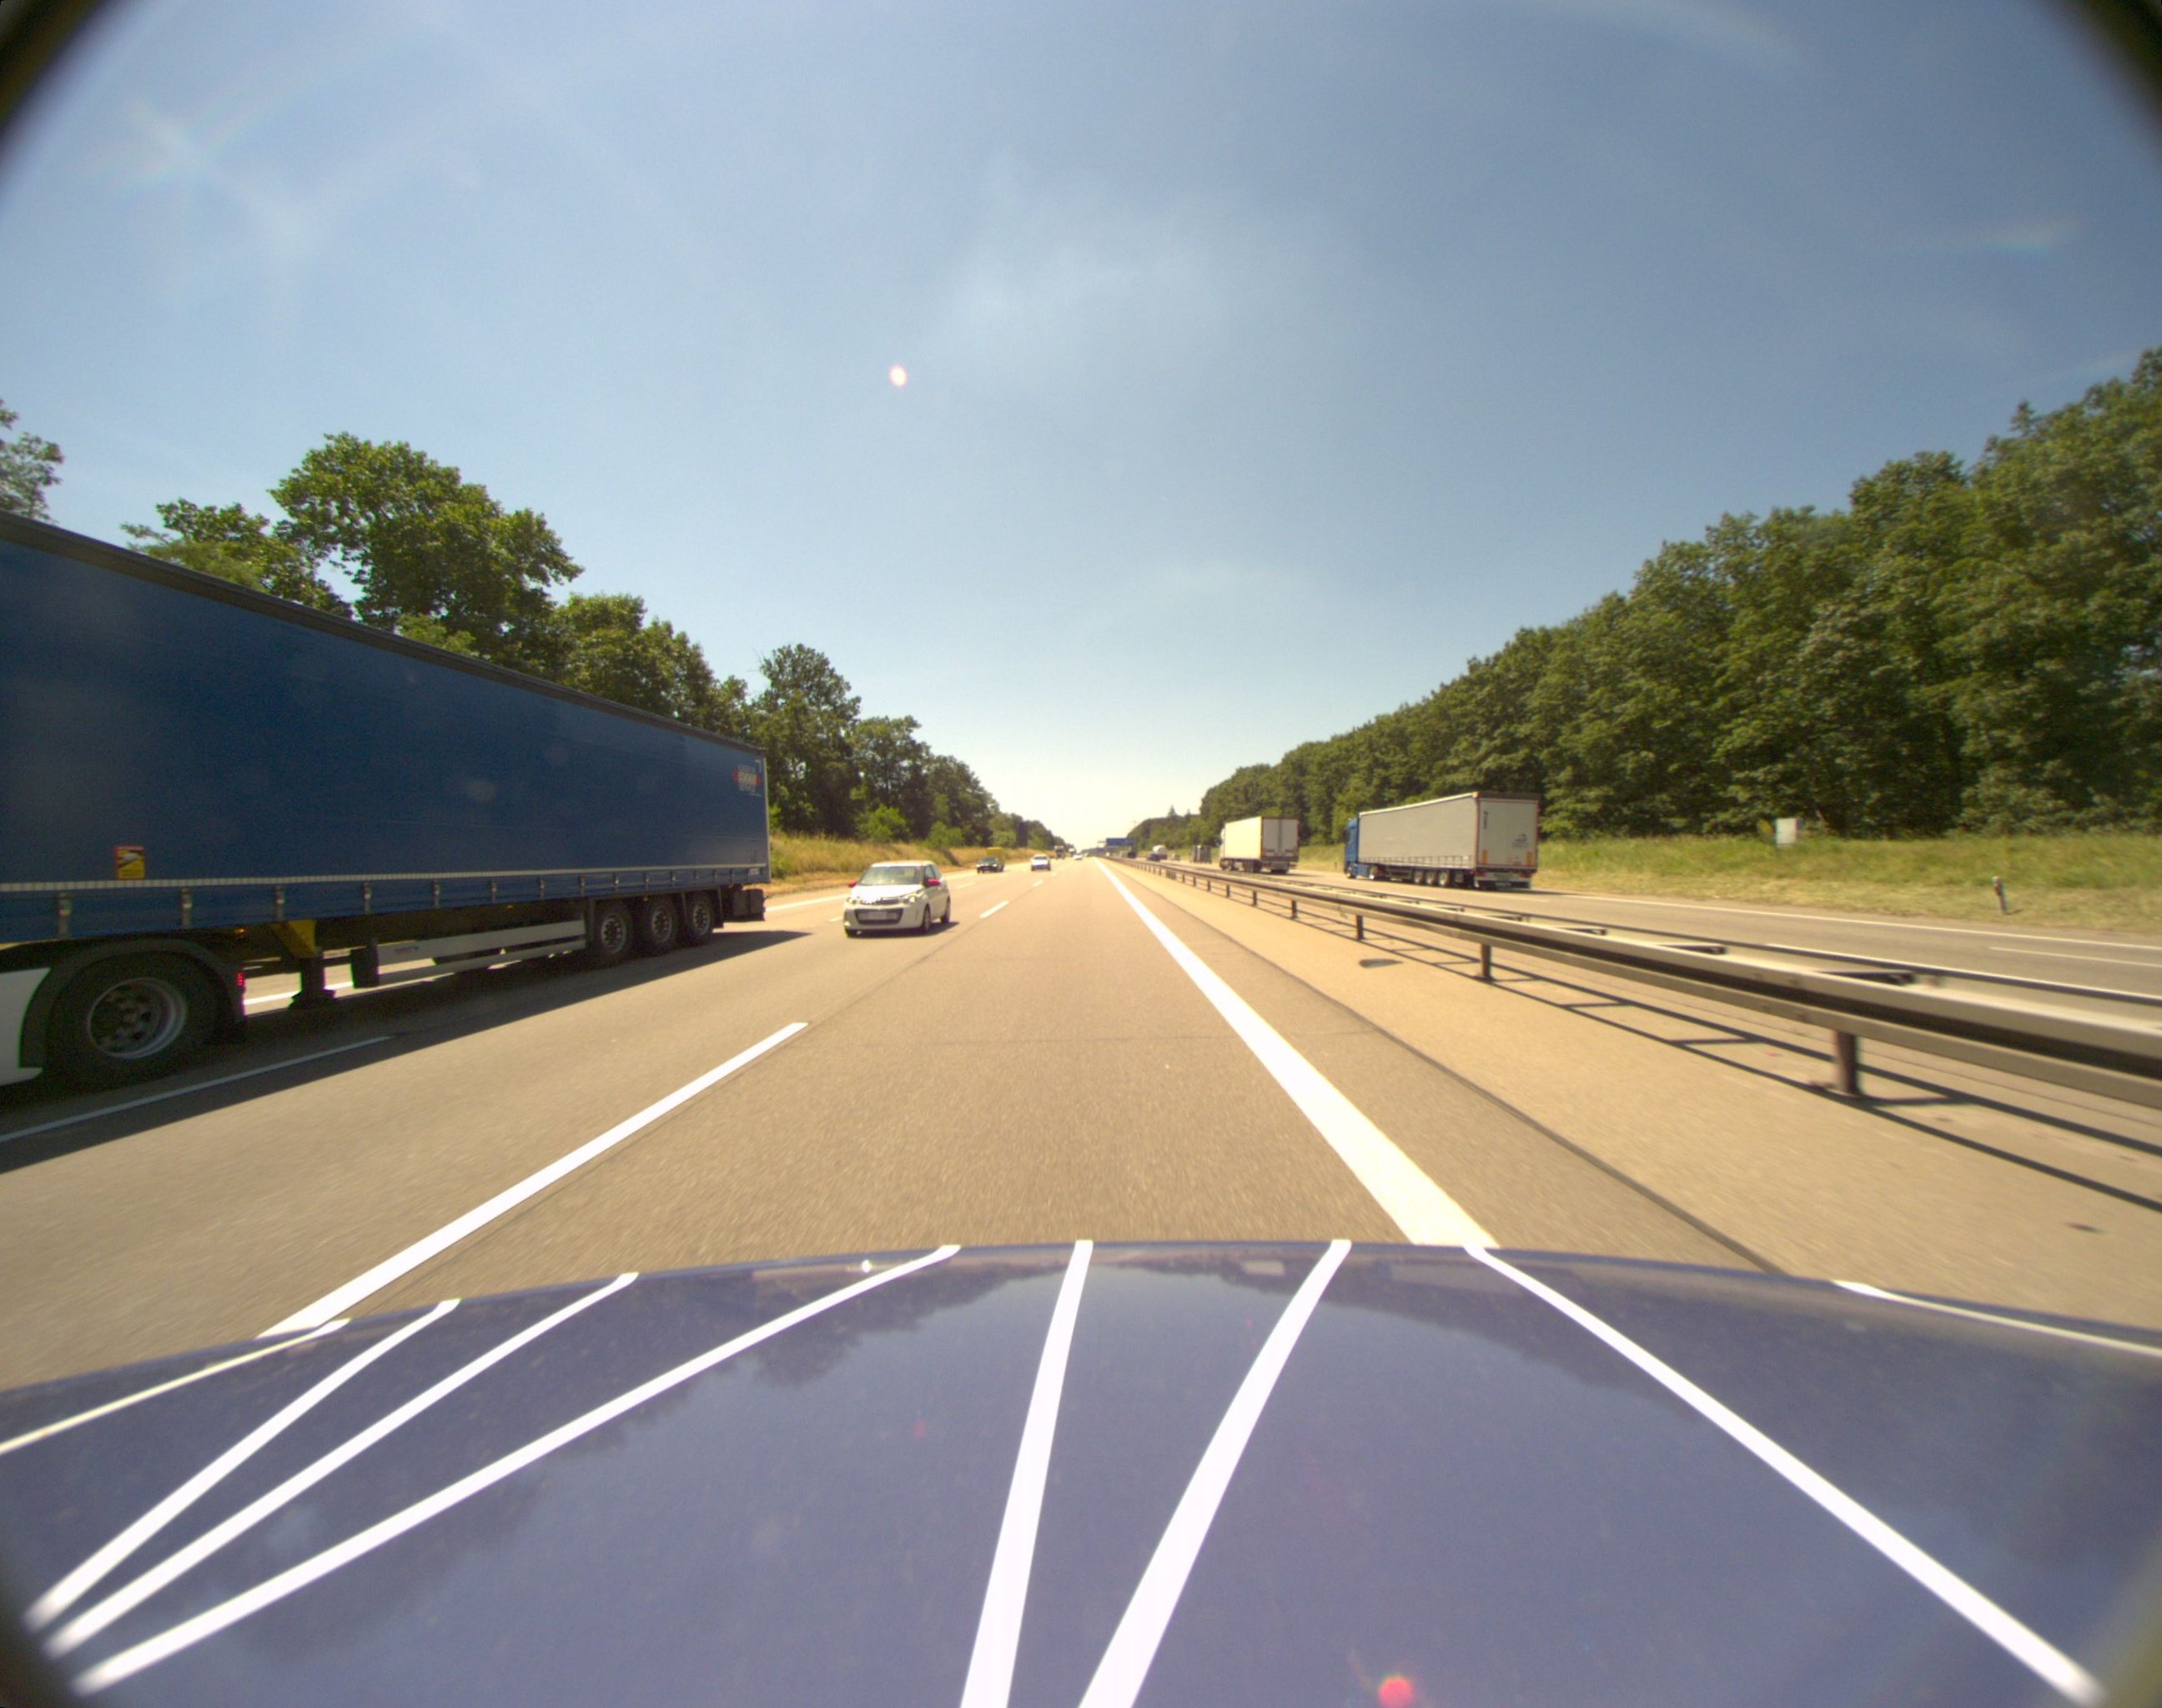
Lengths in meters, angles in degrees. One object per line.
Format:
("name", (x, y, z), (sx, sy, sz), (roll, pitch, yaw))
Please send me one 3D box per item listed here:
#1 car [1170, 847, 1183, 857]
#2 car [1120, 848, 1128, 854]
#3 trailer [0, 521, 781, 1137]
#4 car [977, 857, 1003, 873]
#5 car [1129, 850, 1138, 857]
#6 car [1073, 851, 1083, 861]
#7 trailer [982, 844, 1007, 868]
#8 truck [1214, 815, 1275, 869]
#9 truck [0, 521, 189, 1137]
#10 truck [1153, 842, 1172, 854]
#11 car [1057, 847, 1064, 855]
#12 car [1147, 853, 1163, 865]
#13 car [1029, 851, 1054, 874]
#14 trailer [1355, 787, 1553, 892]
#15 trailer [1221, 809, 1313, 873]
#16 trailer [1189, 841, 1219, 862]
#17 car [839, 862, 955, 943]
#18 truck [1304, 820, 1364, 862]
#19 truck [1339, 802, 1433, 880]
("car", (20.002, -0.411, 159.415), (1.999, 2.002, 3.999), (-2, 1, -1))
("car", (11.614, -0.773, 203.545), (1.780, 1.543, 3.999), (-2, 1, -1))
("trailer", (-8.207, -0.192, 9.975), (2.603, 3.980, 14.079), (-2, 1, 1))
("car", (-8.089, 0.989, 67.882), (1.845, 1.275, 3.352), (-2, 1, 1))
("car", (11.696, -0.077, 169.953), (1.780, 1.543, 3.999), (-2, 1, -1))
("car", (-0.712, 0.426, 166.204), (1.998, 2.002, 4.000), (-2, 1, 1))
("trailer", (-8.062, 0.171, 71.153), (1.849, 2.196, 3.196), (-2, 1, 1))
("truck", (13.748, -1.013, 64.523), (3.539, 4.160, 7.112), (2, 1, 0))
("truck", (-8.300, -0.108, 2.747), (2.603, 3.980, 6.173), (-2, 1, 1))
("truck", (19.714, -1.496, 184.086), (3.541, 2.750, 8.794), (-2, 1, 0))
("car", (-5.789, -0.807, 214.960), (1.998, 2.002, 4.000), (-2, 1, 1))
("car", (10.536, 0.654, 108.469), (1.781, 1.543, 3.998), (-2, 1, -3))
("car", (-3.592, 0.743, 70.041), (1.998, 2.002, 3.999), (-2, 1, 1))
("trailer", (17.617, -0.649, 37.778), (2.940, 4.160, 13.853), (2, 1, 0))
("trailer", (13.750, -0.938, 57.764), (3.539, 4.160, 13.661), (2, 1, 0))
("trailer", (18.776, -0.459, 116.311), (3.230, 2.958, 7.174), (-2, 1, 0))
("car", (-3.799, 0.951, 16.230), (1.581, 1.412, 3.352), (-2, 1, 1))
("truck", (17.874, -0.920, 54.046), (2.162, 2.752, 6.107), (-2, 1, 0))
("truck", (17.652, -0.725, 44.494), (2.940, 4.160, 6.039), (2, 1, 0))
